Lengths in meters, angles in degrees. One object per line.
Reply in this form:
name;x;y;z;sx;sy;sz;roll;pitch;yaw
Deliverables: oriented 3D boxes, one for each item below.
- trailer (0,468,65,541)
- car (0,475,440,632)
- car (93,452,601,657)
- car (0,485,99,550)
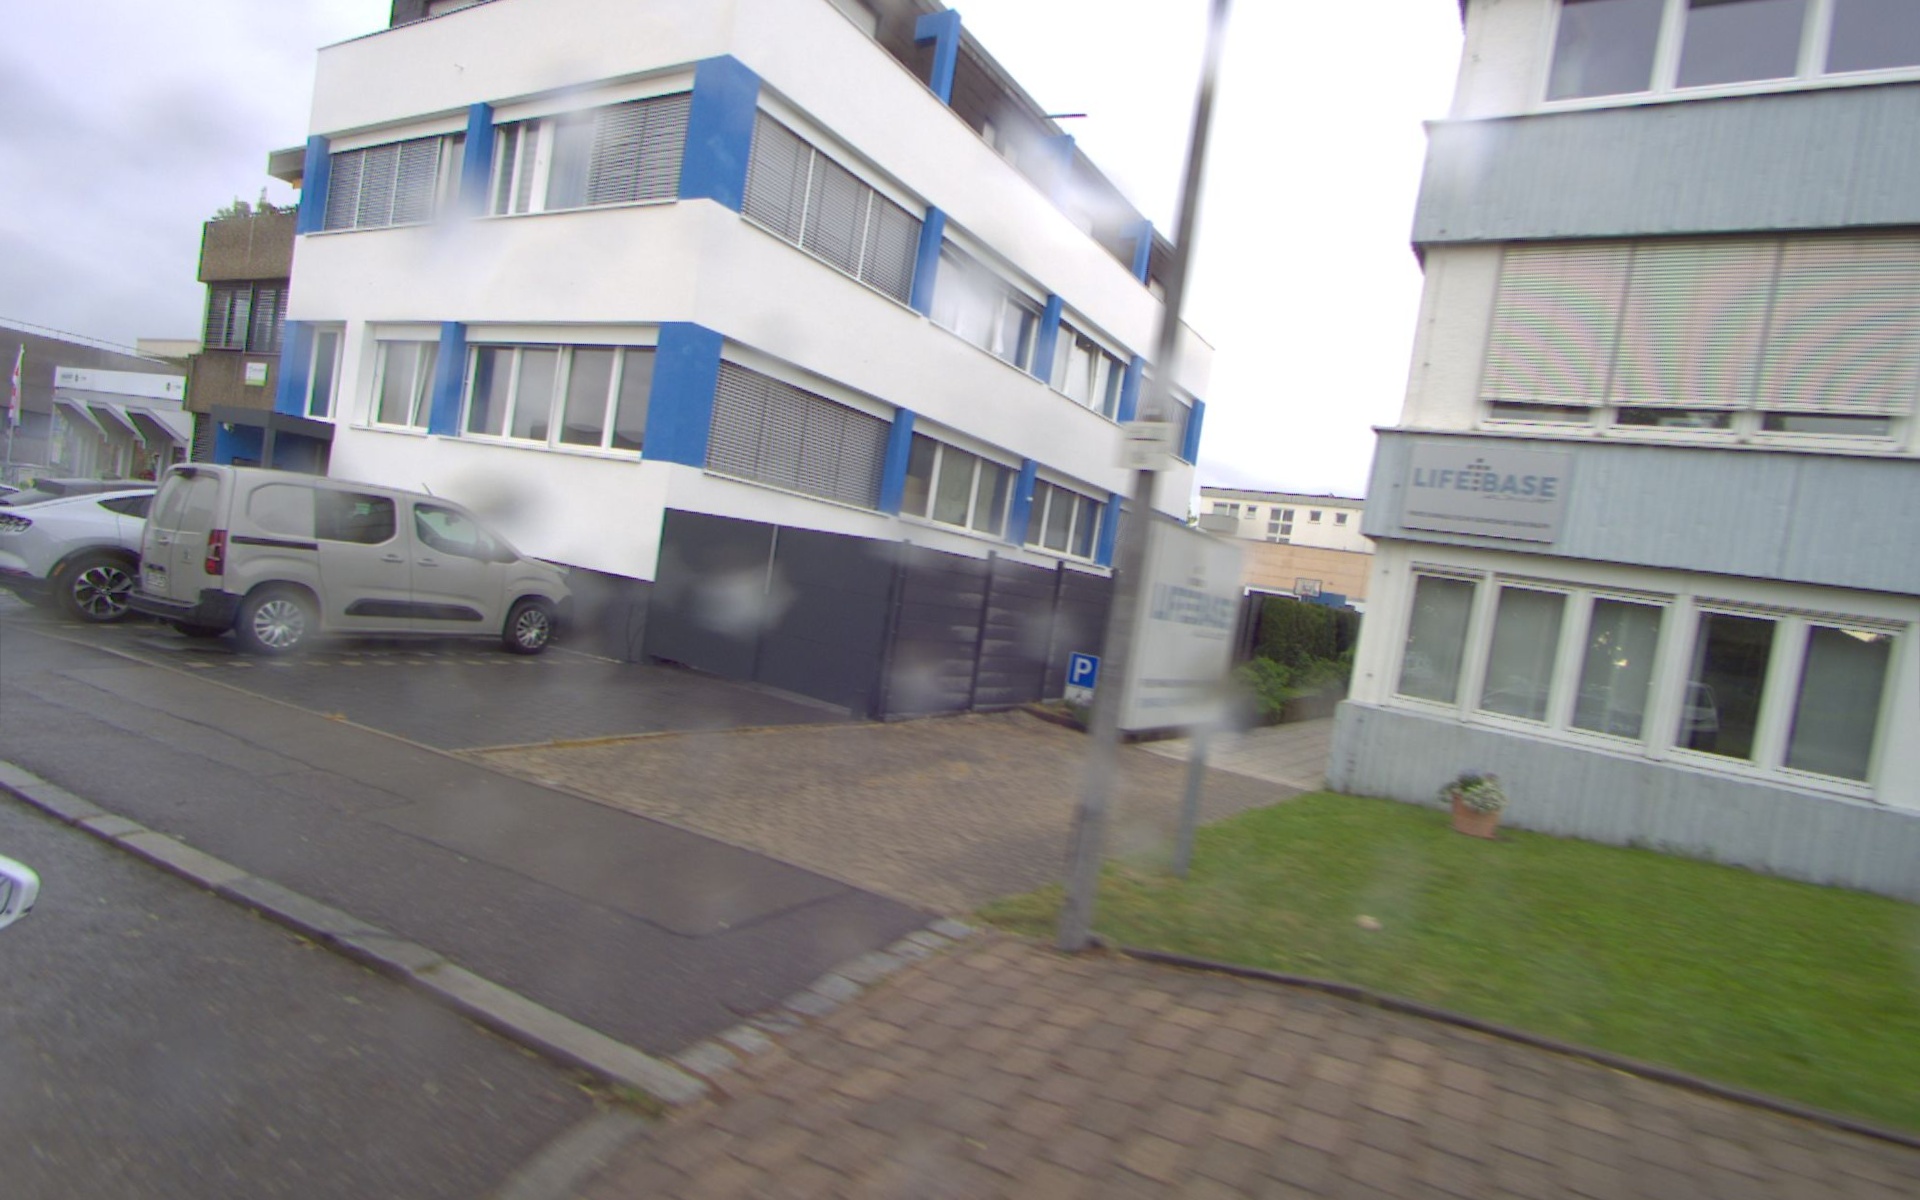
trailer;-35.753;-3.695;37.907;4.238;2.448;1.887;7;2;34
car;-9.355;-0.495;12.593;2.045;1.559;4.598;6;2;32
car;-6.567;-0.372;11.317;2.054;1.795;4.345;6;1;30
car;-26.288;-2.326;27.219;1.971;1.595;4.120;5;2;32
